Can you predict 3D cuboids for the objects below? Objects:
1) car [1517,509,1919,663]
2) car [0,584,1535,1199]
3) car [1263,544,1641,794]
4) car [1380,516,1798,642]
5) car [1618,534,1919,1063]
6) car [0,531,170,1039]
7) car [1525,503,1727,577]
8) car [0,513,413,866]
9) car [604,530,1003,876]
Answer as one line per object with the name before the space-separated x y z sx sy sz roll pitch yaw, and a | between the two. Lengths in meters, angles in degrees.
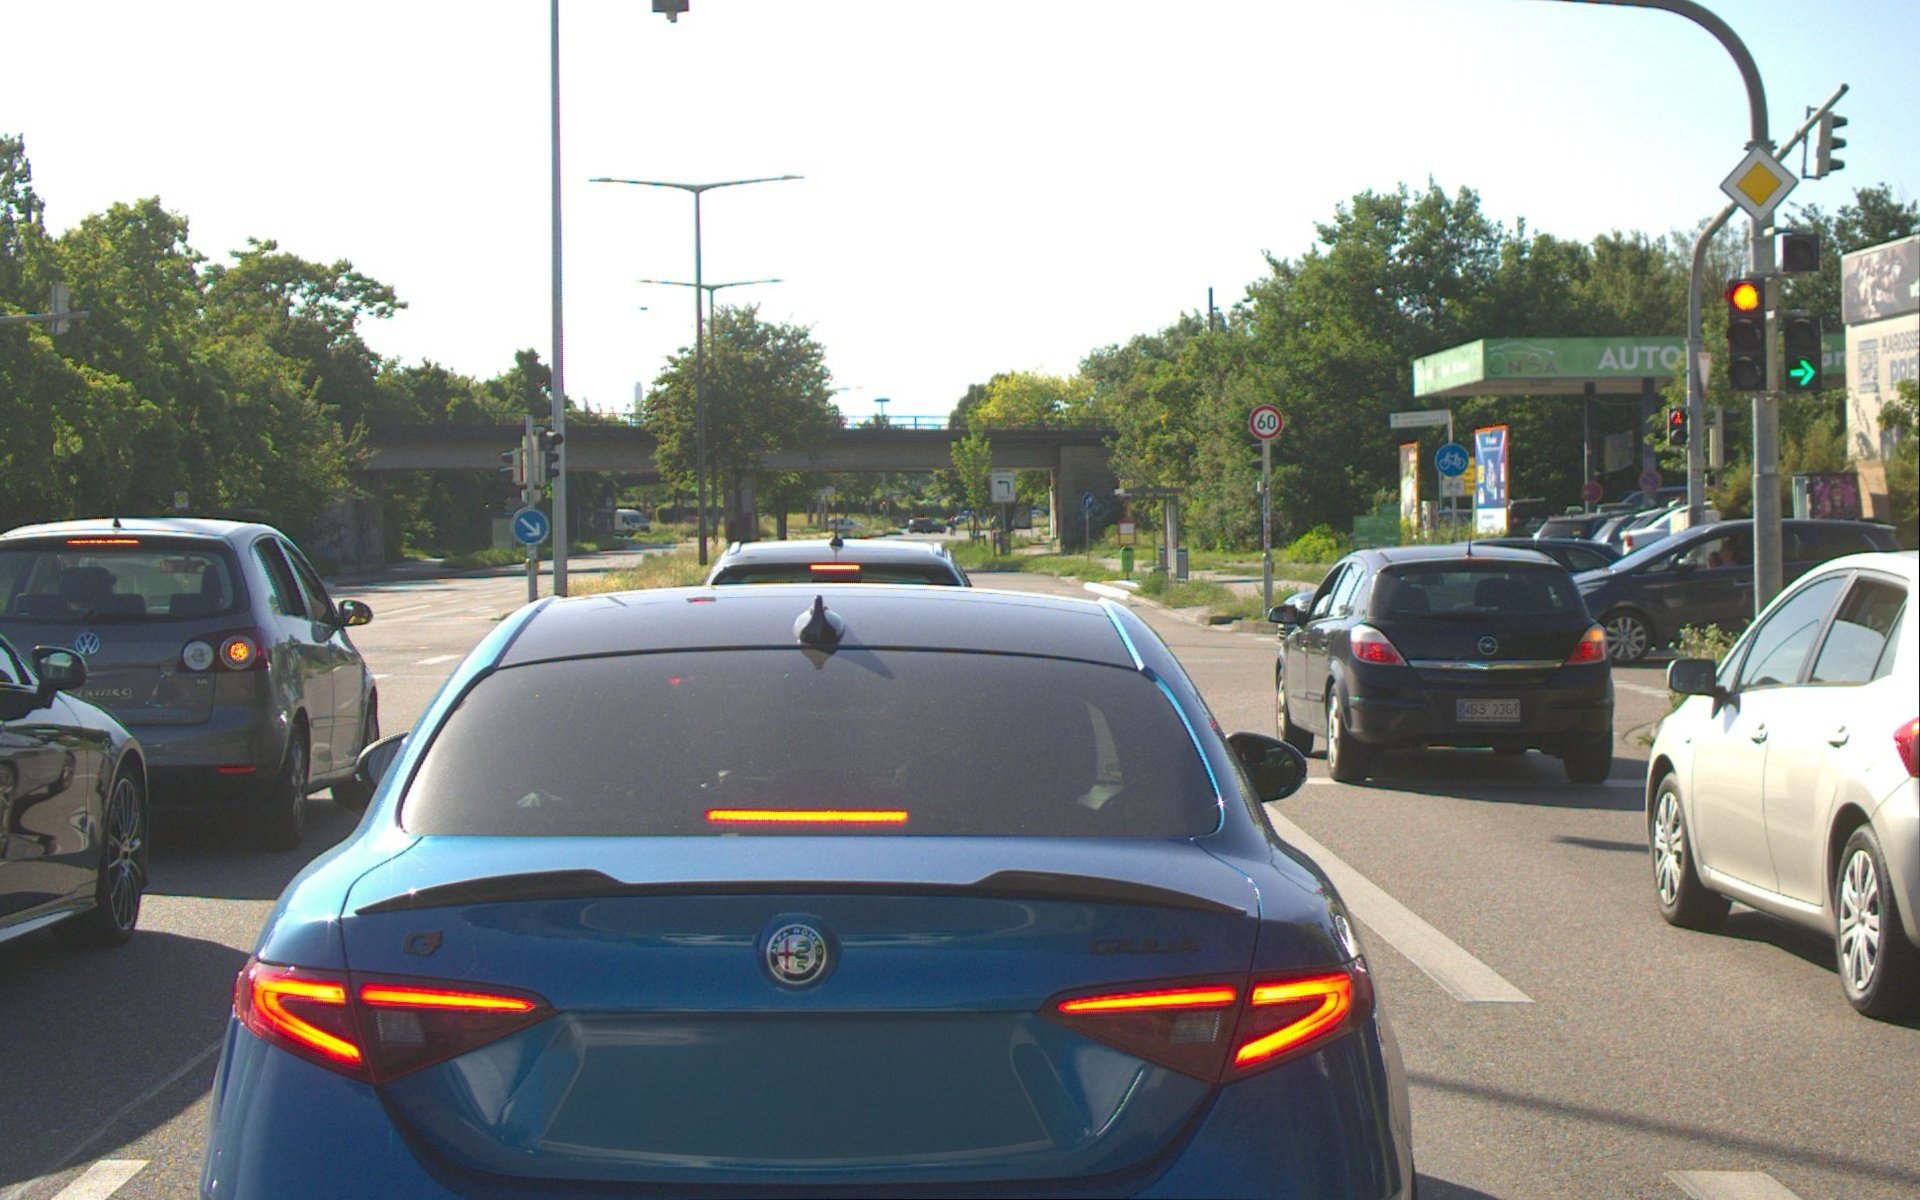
car | 8.621 -0.160 39.002 4.306 1.644 1.638 1 0 -1
car | -0.221 0.701 6.119 1.910 1.418 3.719 1 1 1
car | 3.055 0.366 22.198 1.734 1.437 4.372 1 1 -1
car | 7.765 -0.268 42.720 4.818 1.463 1.759 1 0 -2
car | 3.640 0.552 12.099 1.783 1.531 4.108 1 1 -1
car | -3.836 0.556 10.673 1.812 1.546 4.544 0 1 -1
car | 14.444 -1.295 74.692 3.987 1.547 2.000 1 0 1
car | -3.963 0.373 17.419 1.812 1.546 4.354 1 1 -2
car | -0.665 0.435 16.936 1.704 1.492 3.719 1 0 1
